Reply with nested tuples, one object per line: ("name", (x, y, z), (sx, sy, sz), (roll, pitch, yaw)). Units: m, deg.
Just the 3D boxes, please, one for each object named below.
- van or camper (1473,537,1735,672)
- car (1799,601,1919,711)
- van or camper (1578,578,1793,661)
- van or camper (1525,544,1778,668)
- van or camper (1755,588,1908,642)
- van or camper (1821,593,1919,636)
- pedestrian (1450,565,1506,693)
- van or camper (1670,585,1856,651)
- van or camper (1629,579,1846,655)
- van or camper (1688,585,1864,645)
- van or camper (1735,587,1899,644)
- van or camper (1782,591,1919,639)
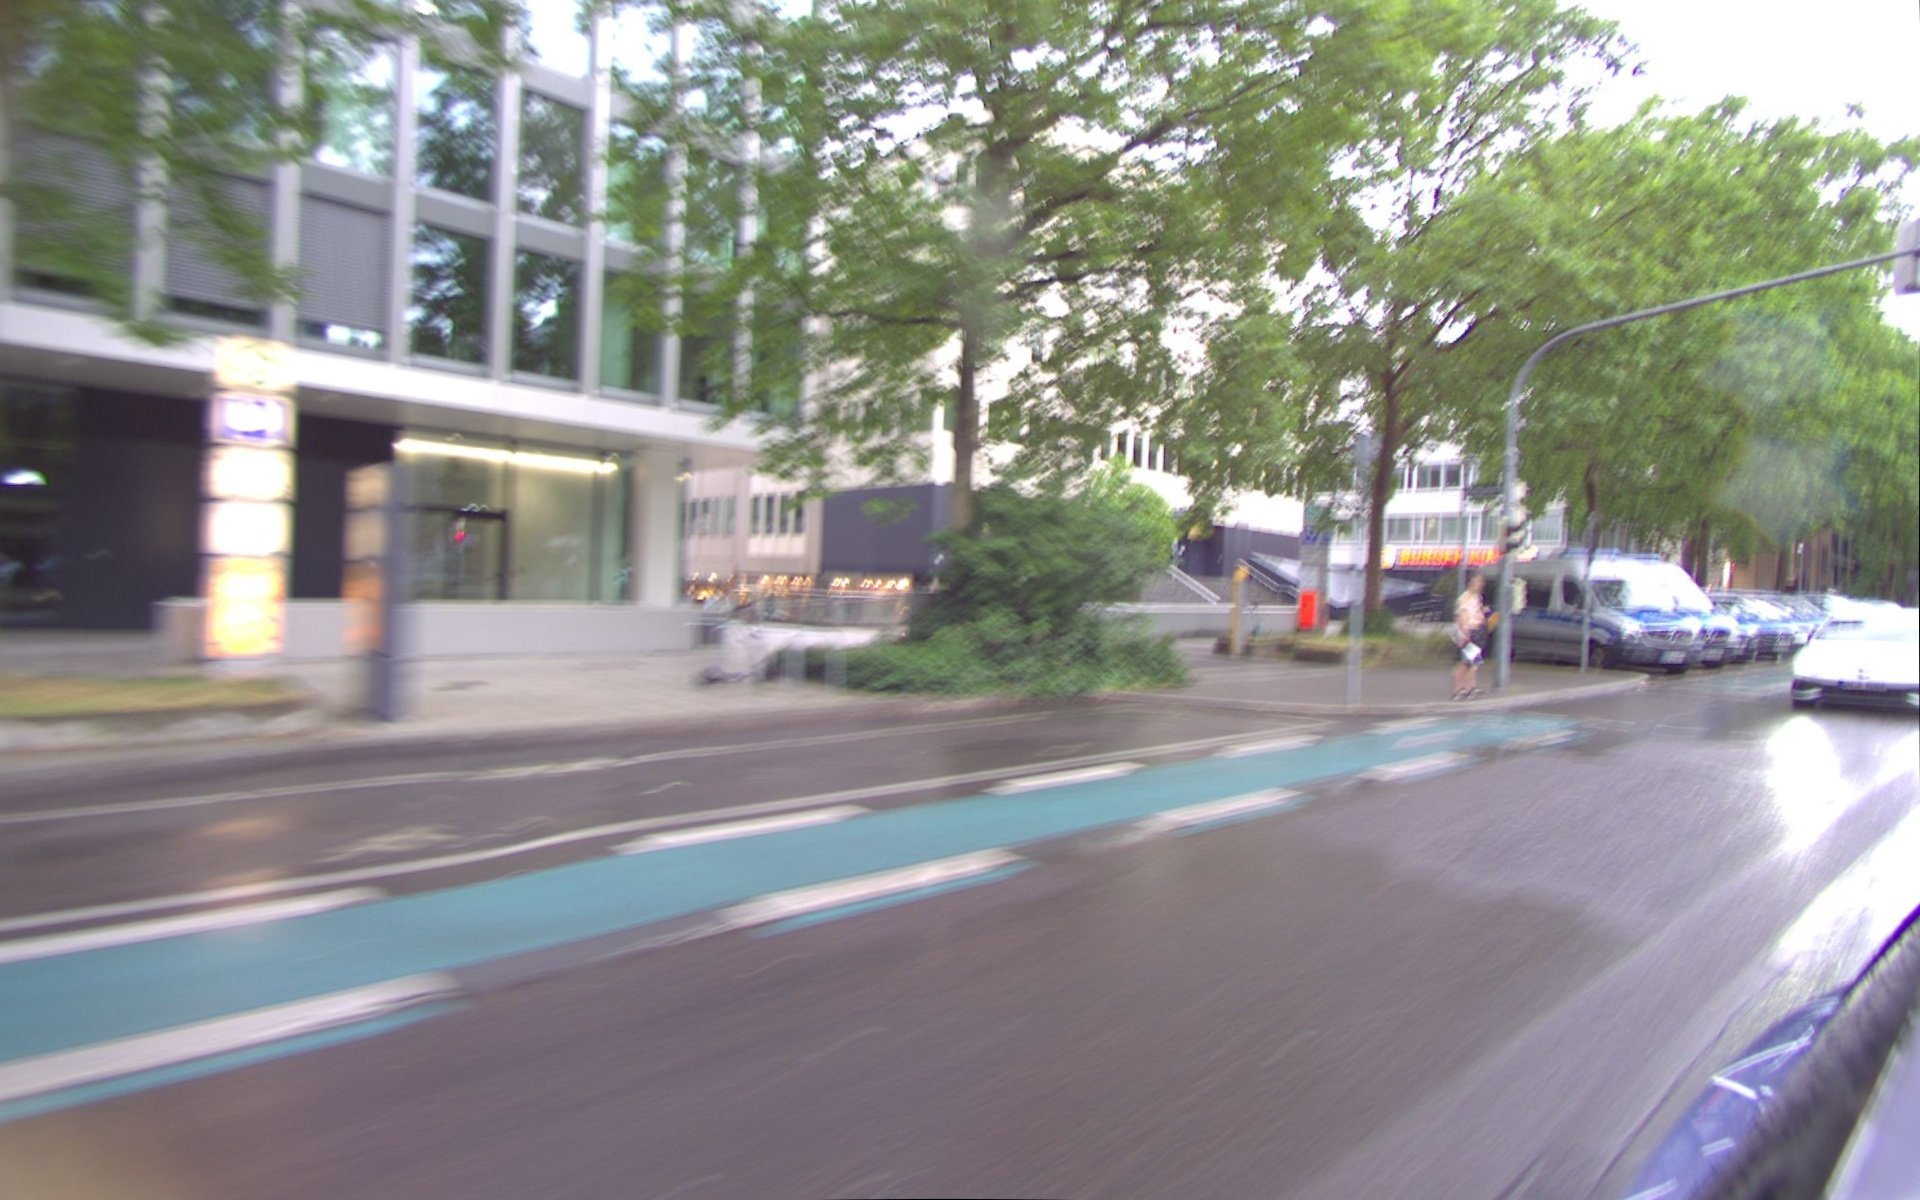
("van or camper", (14.578, 0.078, 23.500), (2.105, 2.711, 5.820), (1, 0, -3))
("car", (14.245, 0.779, 15.363), (4.434, 1.463, 1.863), (1, 0, -44))
("van or camper", (19.545, 0.441, 27.608), (1.960, 2.039, 5.022), (0, 1, -5))
("van or camper", (17.059, 0.099, 25.471), (1.960, 2.714, 5.818), (1, 1, -5))
("van or camper", (35.427, 0.557, 41.352), (1.831, 2.023, 4.858), (1, 0, -4))
("van or camper", (45.704, 0.681, 49.980), (1.963, 2.017, 4.949), (0, 0, -2))
("pedestrian", (7.738, 0.419, 15.126), (0.605, 1.854, 0.556), (1, 0, 41))
("van or camper", (27.128, 0.537, 34.482), (2.065, 2.050, 5.111), (1, 0, -3))
("van or camper", (22.434, 0.451, 29.566), (1.960, 2.017, 5.214), (0, 0, -6))
("van or camper", (29.813, 0.498, 37.214), (1.959, 2.020, 5.032), (1, 1, -8))
("van or camper", (32.574, 0.549, 38.668), (1.960, 2.036, 4.799), (1, 0, -4))
("van or camper", (40.381, 0.679, 45.807), (1.957, 2.045, 5.091), (1, -1, -4))
